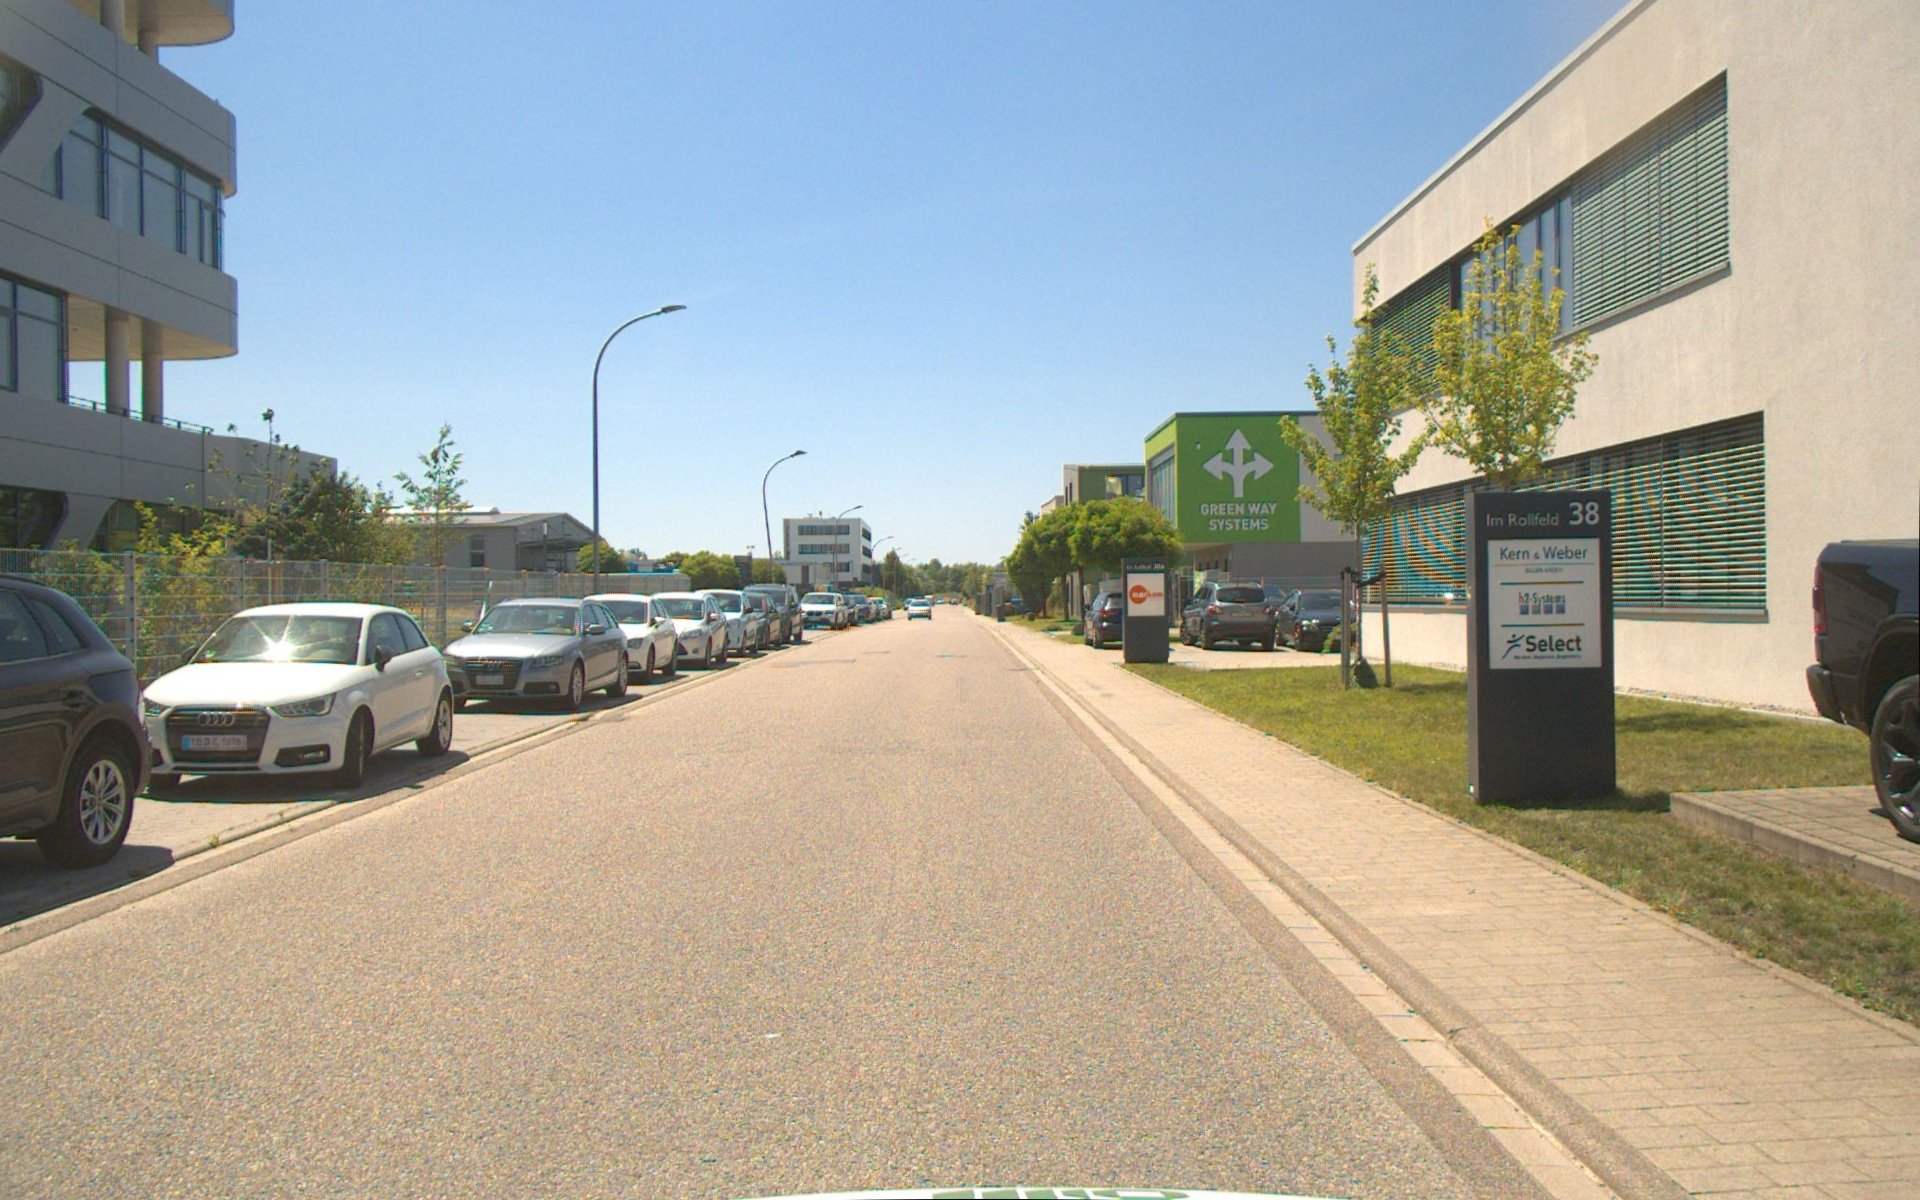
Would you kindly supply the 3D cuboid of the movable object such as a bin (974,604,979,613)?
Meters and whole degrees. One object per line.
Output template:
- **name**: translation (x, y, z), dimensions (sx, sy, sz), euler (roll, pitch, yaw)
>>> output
- **movable object such as a bin**: translation (1.794, 0.884, 179.637), dimensions (0.541, 0.944, 0.522), euler (-5, 1, 4)

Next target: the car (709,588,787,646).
- **car**: translation (-5.803, 0.432, 45.629), dimensions (1.601, 1.526, 3.972), euler (0, 0, 0)

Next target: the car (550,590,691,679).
- **car**: translation (-5.974, 0.558, 29.543), dimensions (1.668, 1.469, 4.438), euler (0, 0, -1)

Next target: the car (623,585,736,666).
- **car**: translation (-5.800, 0.491, 34.678), dimensions (1.668, 1.563, 4.571), euler (0, 0, -1)

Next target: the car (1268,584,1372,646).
- **car**: translation (8.922, 0.344, 41.269), dimensions (1.688, 1.475, 4.022), euler (0, 0, 0)

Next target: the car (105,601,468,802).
- **car**: translation (-5.563, 0.749, 14.207), dimensions (1.665, 1.410, 3.935), euler (0, 1, -3)

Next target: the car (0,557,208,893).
- **car**: translation (-5.677, 0.633, 8.023), dimensions (1.733, 1.680, 4.852), euler (0, 1, 1)

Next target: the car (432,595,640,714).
- **car**: translation (-5.721, 0.669, 22.886), dimensions (1.649, 1.410, 4.639), euler (0, 1, 0)

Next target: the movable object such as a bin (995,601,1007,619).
- **movable object such as a bin**: translation (2.267, 0.535, 91.299), dimensions (0.540, 0.944, 0.522), euler (-4, -1, 9)

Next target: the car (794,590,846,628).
- **car**: translation (-5.921, 0.363, 70.474), dimensions (1.750, 1.569, 4.365), euler (0, 0, 1)

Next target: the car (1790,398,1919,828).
- **car**: translation (5.597, 0.114, 6.167), dimensions (1.953, 2.048, 5.799), euler (-1, 2, -2)

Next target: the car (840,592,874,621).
- **car**: translation (-6.011, 0.356, 96.747), dimensions (1.754, 1.635, 4.461), euler (0, 0, -1)

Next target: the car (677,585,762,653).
- **car**: translation (-5.818, 0.440, 40.390), dimensions (1.601, 1.563, 3.657), euler (0, 0, -1)

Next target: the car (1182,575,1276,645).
- **car**: translation (6.716, 0.232, 41.603), dimensions (1.688, 1.661, 4.022), euler (0, 0, 0)

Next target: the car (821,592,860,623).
- **car**: translation (-5.991, 0.373, 83.196), dimensions (1.727, 1.544, 4.379), euler (0, 0, -1)

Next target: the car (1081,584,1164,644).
- **car**: translation (4.065, 0.330, 41.935), dimensions (1.657, 1.453, 4.245), euler (0, 0, 0)

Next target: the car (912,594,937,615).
- **car**: translation (-2.578, 0.329, 121.392), dimensions (1.669, 1.436, 4.783), euler (-3, 0, -1)

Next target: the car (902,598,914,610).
- **car**: translation (-7.142, 0.541, 227.549), dimensions (1.437, 1.516, 3.207), euler (-1, 0, 0)

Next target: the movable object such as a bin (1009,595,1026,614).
- **movable object such as a bin**: translation (4.808, 0.379, 137.904), dimensions (1.307, 1.485, 0.948), euler (-1, 0, -1)

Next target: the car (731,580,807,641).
- **car**: translation (-5.754, 0.286, 50.250), dimensions (1.766, 1.749, 4.622), euler (0, 0, 0)

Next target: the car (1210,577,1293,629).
- **car**: translation (8.694, 0.128, 49.546), dimensions (1.703, 1.423, 4.054), euler (-1, -2, -1)

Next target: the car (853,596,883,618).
- **car**: translation (-6.257, 0.482, 112.895), dimensions (1.819, 1.506, 4.228), euler (0, 0, 0)
